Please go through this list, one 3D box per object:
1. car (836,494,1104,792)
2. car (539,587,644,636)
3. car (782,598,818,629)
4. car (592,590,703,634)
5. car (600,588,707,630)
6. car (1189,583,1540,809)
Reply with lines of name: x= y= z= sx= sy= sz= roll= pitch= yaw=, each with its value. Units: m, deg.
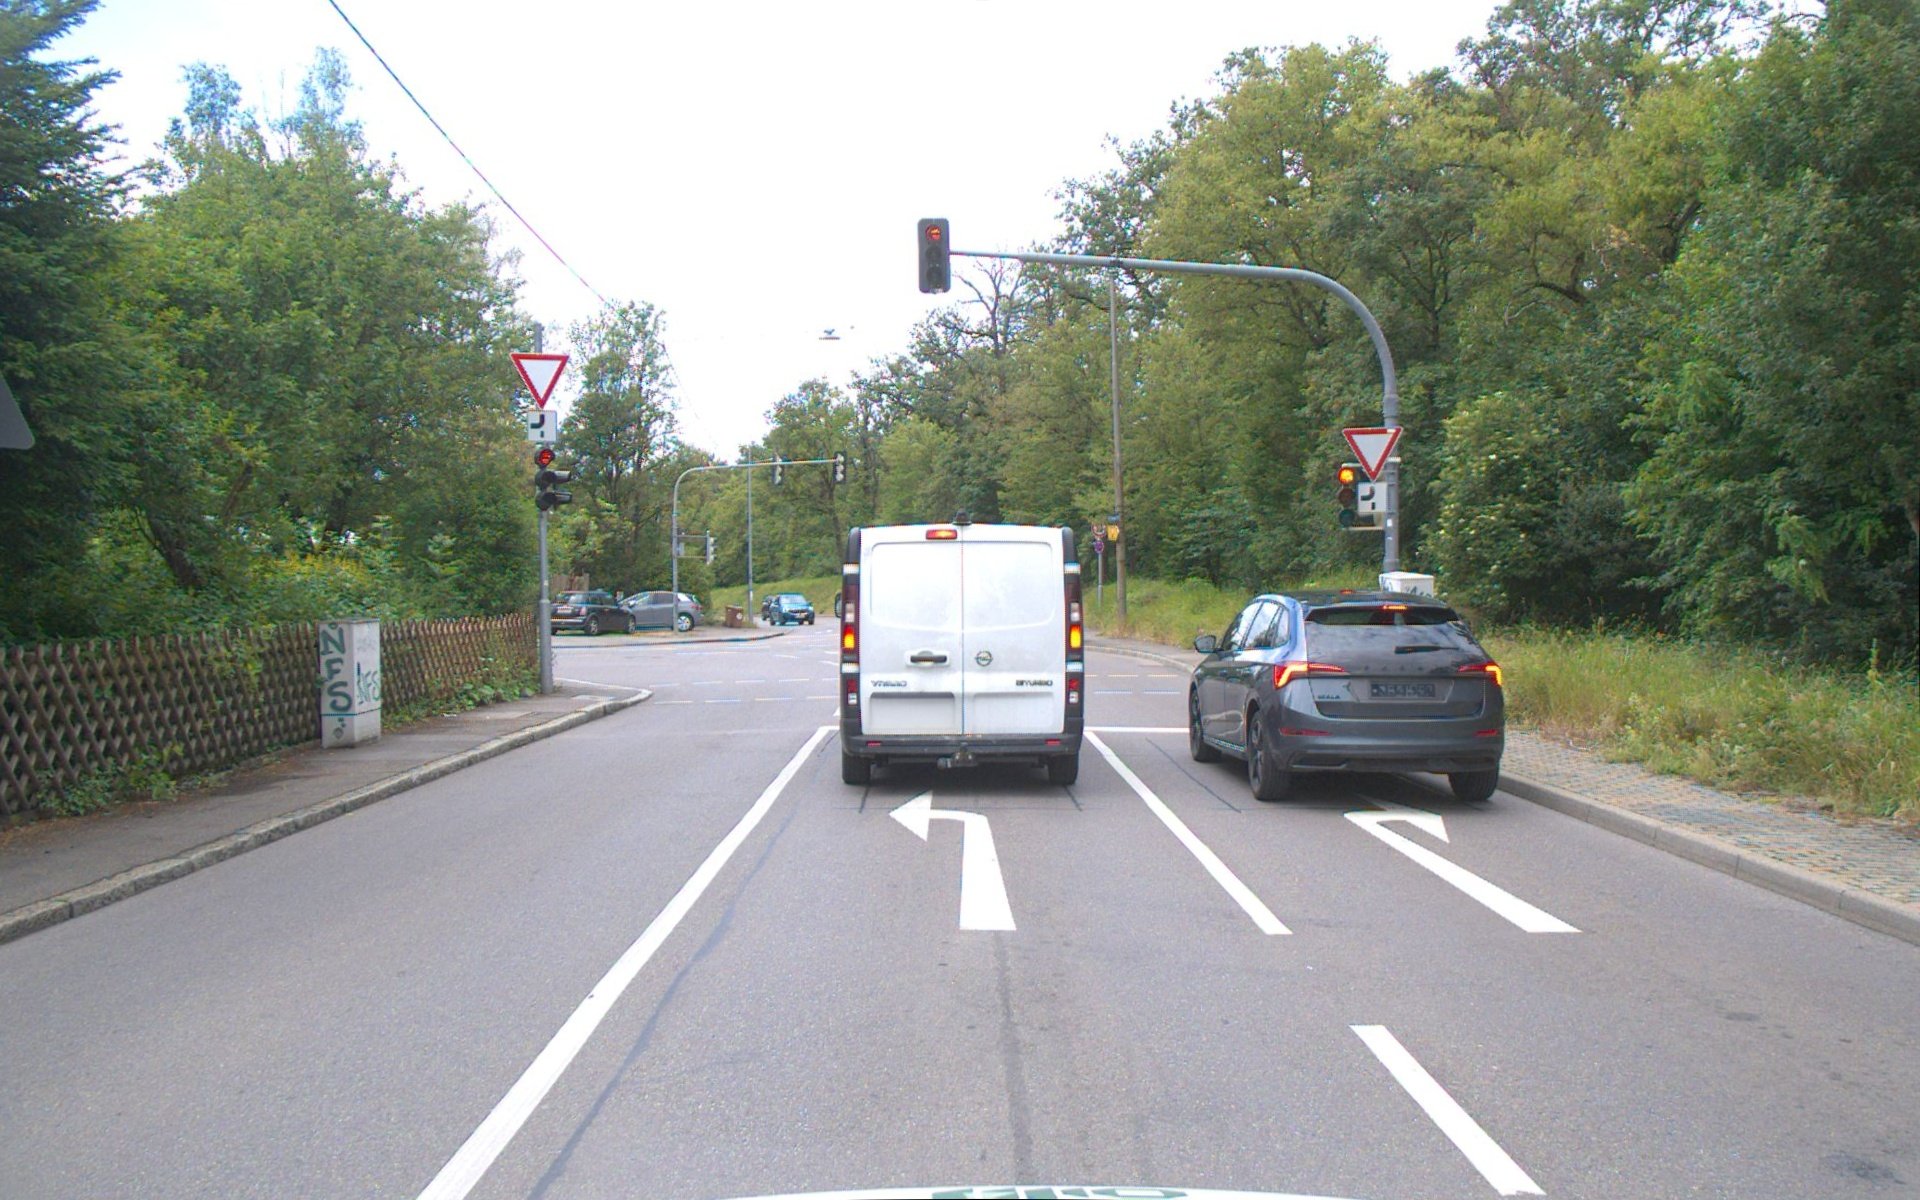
car: x=-0.029 y=0.290 z=14.105 sx=1.878 sy=2.089 sz=4.612 roll=1 pitch=0 yaw=-3
car: x=-11.817 y=0.369 z=53.251 sx=1.662 sy=1.474 sz=3.544 roll=2 pitch=0 yaw=19
car: x=-8.516 y=0.701 z=88.102 sx=1.820 sy=1.533 sz=3.996 roll=-1 pitch=1 yaw=-5
car: x=-12.019 y=0.443 z=63.532 sx=4.022 sy=1.580 sz=1.846 roll=-1 pitch=1 yaw=-18
car: x=-12.332 y=0.348 z=66.492 sx=4.022 sy=1.580 sz=1.846 roll=-1 pitch=1 yaw=-18
car: x=2.950 y=0.616 z=12.929 sx=1.756 sy=1.476 sz=4.000 roll=0 pitch=0 yaw=0
